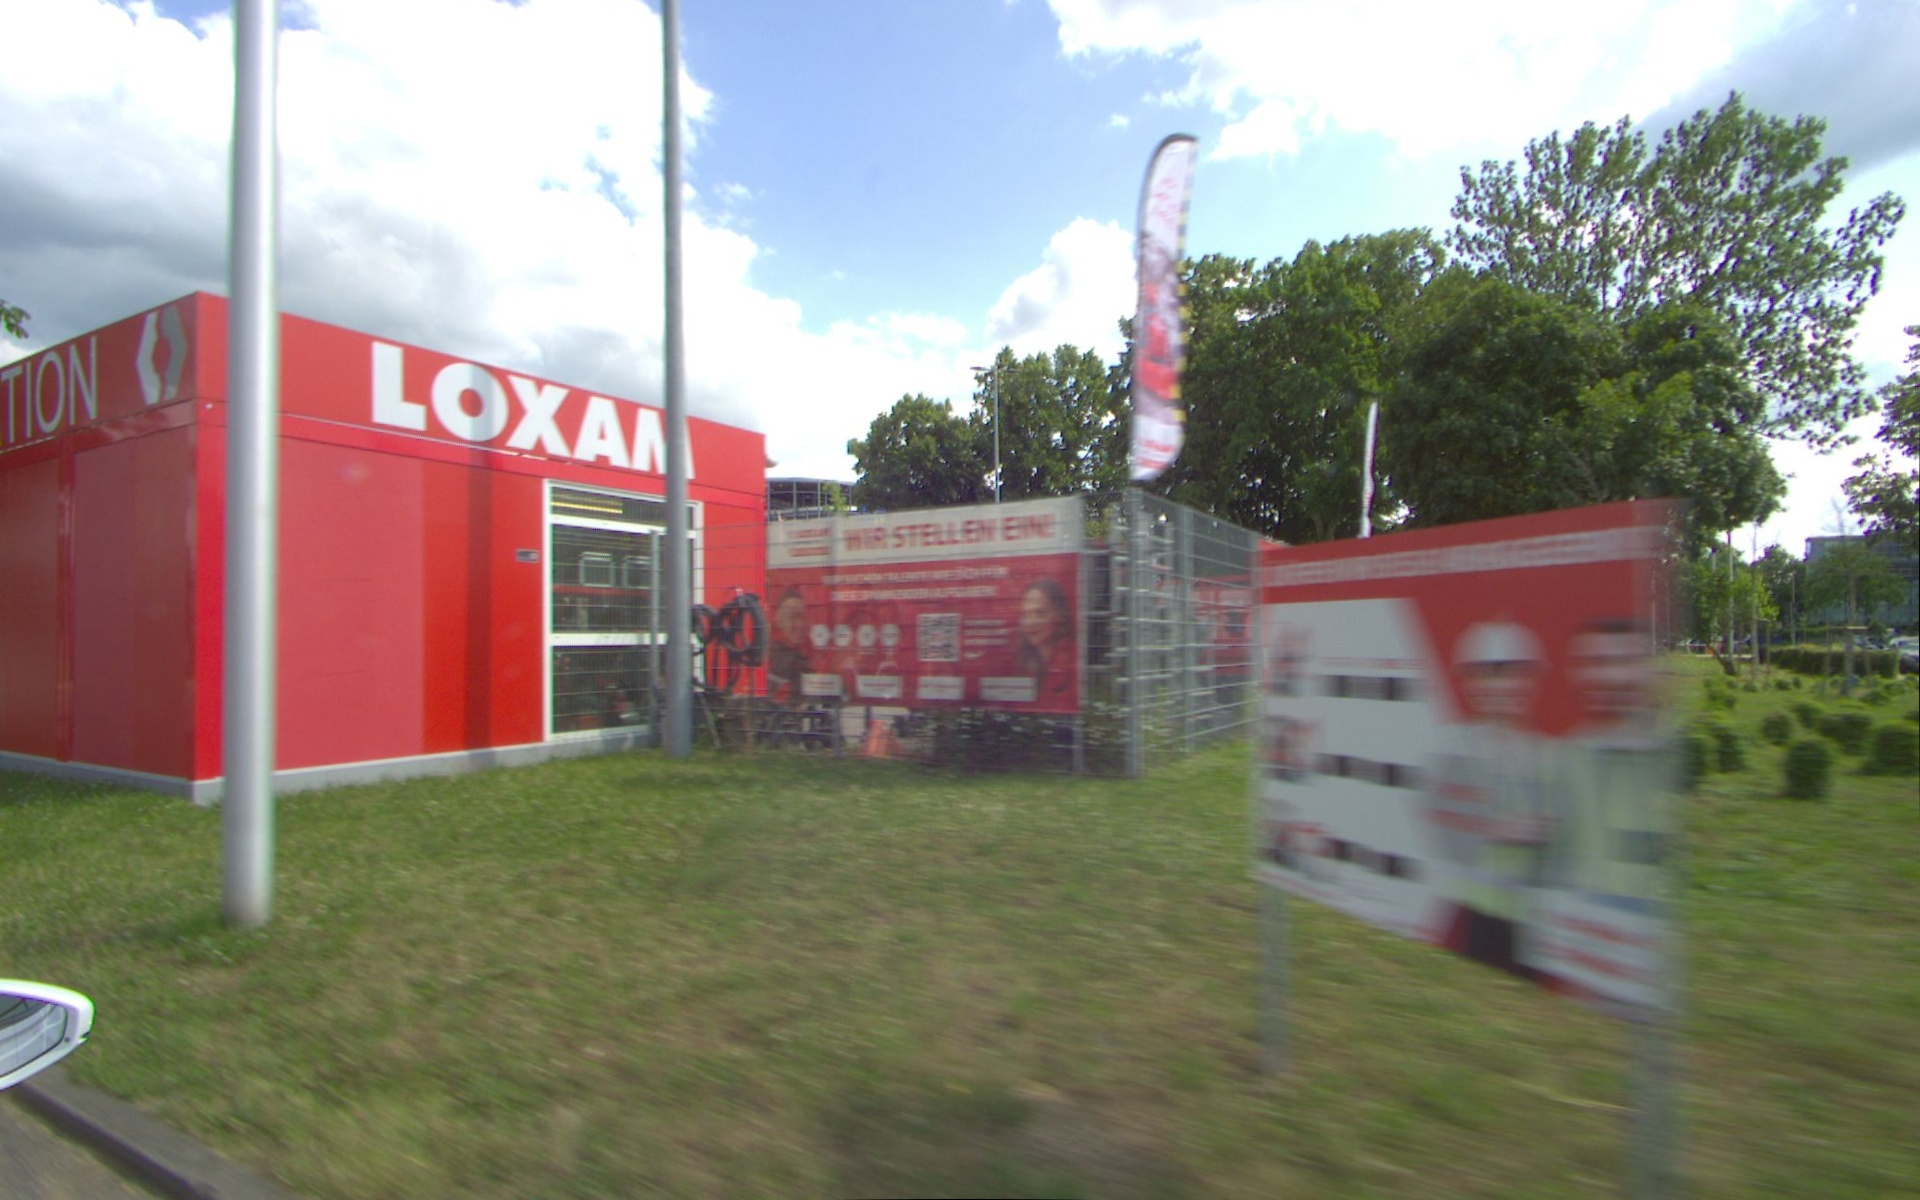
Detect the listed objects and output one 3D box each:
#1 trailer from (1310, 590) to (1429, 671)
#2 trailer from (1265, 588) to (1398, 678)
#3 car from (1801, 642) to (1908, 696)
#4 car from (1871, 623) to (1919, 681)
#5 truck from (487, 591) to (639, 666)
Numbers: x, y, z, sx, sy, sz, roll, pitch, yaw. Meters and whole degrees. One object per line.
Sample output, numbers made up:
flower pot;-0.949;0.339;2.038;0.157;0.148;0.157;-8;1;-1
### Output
trailer;10.847;0.825;26.538;2.753;2.039;1.494;-1;-2;29
trailer;8.991;0.802;24.266;2.757;2.039;1.492;-1;-2;34
car;28.701;2.217;32.248;1.694;1.558;3.674;-5;-5;29
car;36.630;1.921;38.273;1.974;2.038;3.977;-5;-3;34
truck;-20.635;1.461;51.822;8.909;3.645;2.716;-1;-1;33
